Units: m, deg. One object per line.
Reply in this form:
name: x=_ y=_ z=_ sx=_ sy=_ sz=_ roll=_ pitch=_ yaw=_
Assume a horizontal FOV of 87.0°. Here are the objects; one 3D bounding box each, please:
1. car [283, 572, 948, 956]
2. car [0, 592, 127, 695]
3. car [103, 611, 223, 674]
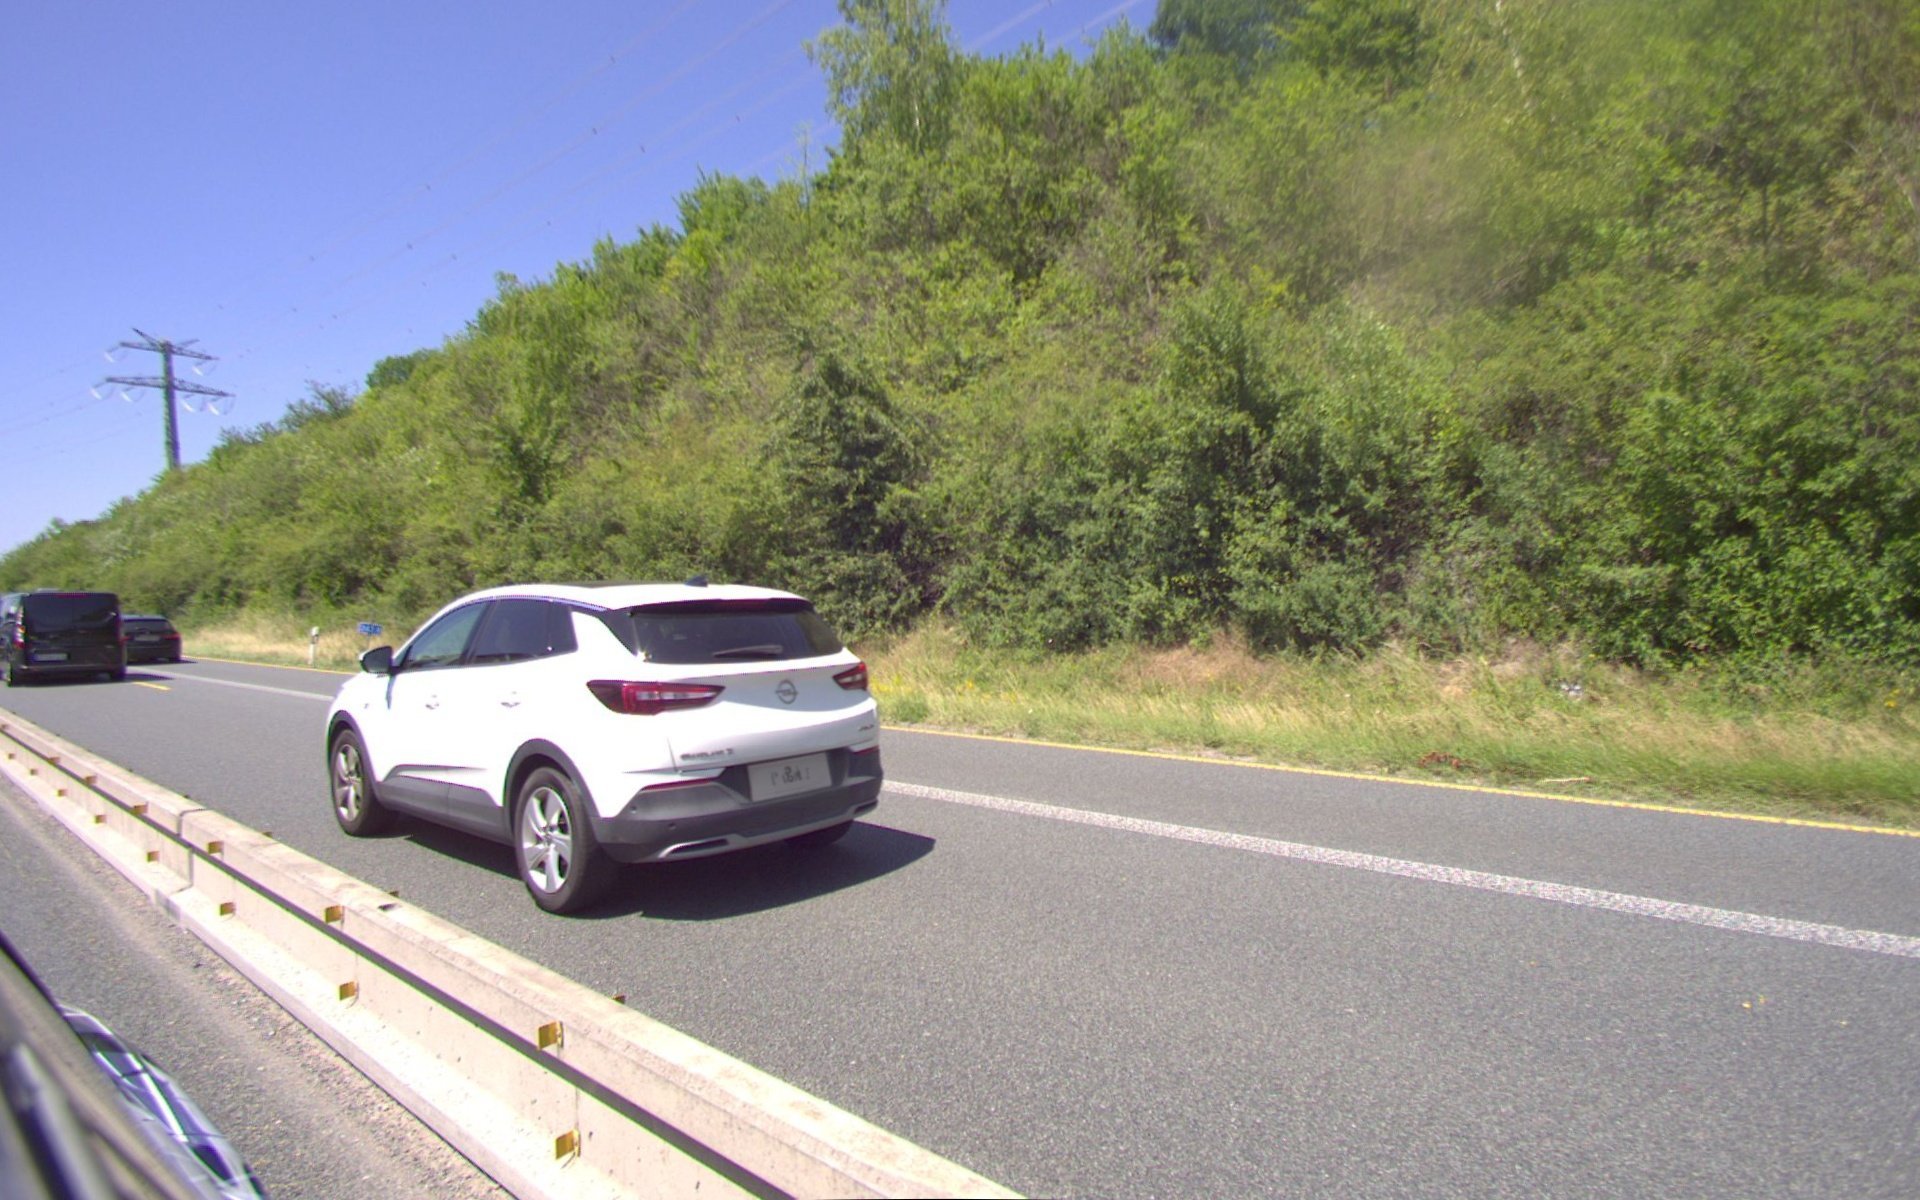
car: x=-2.426 y=0.692 z=6.310 sx=4.668 sy=1.545 sz=1.824 roll=-1 pitch=0 yaw=41
car: x=-20.161 y=0.893 z=22.435 sx=4.816 sy=2.029 sz=1.871 roll=-1 pitch=0 yaw=42
car: x=-21.735 y=1.103 z=27.525 sx=4.529 sy=1.536 sz=1.774 roll=-1 pitch=0 yaw=42
